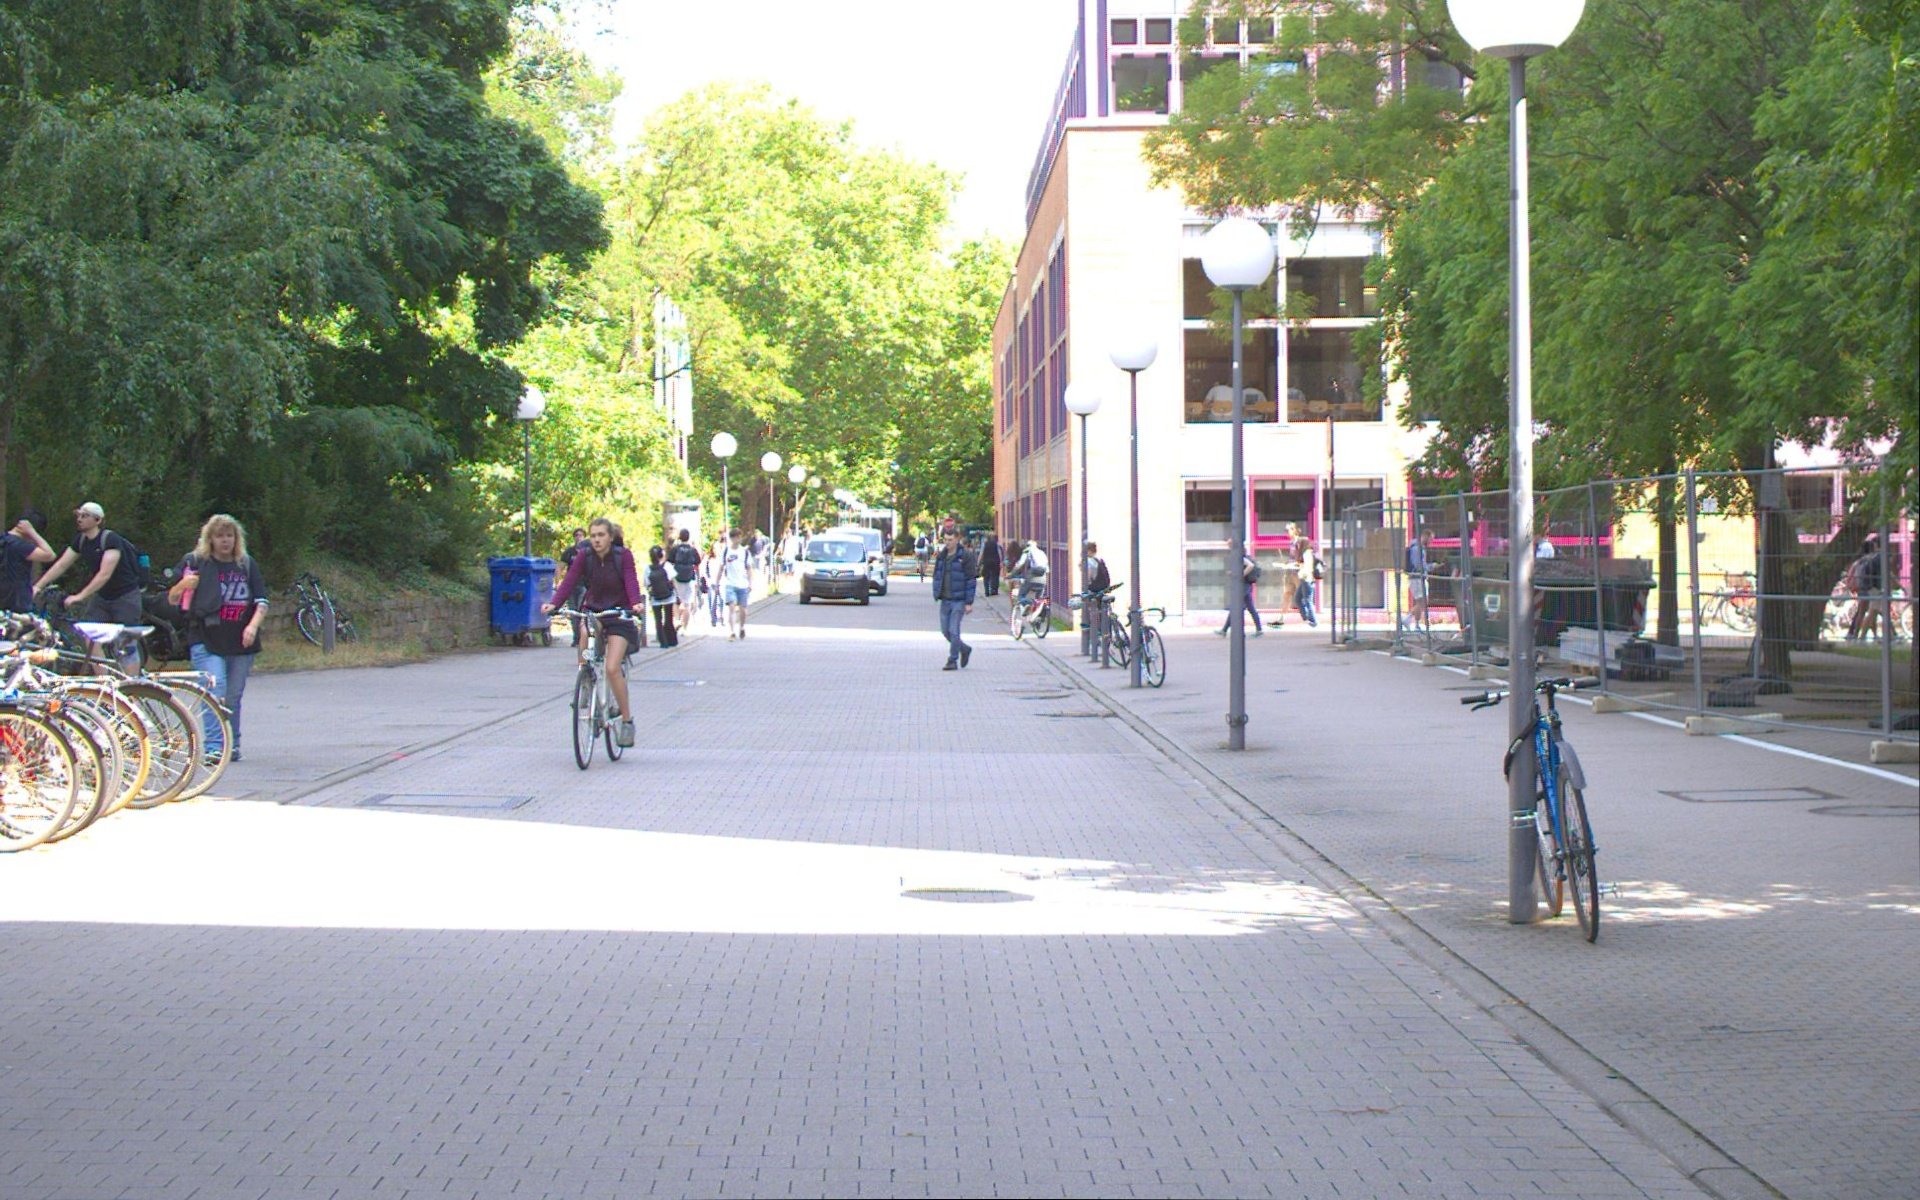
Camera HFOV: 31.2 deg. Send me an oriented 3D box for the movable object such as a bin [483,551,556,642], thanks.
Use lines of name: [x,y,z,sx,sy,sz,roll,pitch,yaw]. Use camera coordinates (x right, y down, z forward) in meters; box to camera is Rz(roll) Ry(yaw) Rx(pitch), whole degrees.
movable object such as a bin: [-6.704,-0.060,52.365,0.709,1.332,1.239,3,1,9]

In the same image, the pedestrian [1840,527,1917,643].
pedestrian: [13.712,-0.220,51.340,0.901,1.722,0.685,0,-1,-5]

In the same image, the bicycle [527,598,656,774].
bicycle: [-2.527,0.566,23.766,0.771,1.146,2.108,-1,0,-4]

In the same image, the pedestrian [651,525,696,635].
pedestrian: [-4.865,-0.342,58.389,0.682,1.838,0.783,1,0,-1]

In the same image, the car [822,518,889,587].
car: [-3.053,-1.431,101.383,1.883,1.967,5.215,0,1,-1]

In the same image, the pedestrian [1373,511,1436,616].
pedestrian: [7.378,-0.598,57.058,0.902,1.722,0.684,-1,-1,18]

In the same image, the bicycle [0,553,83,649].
bicycle: [-10.473,0.003,38.201,0.473,1.043,1.698,3,1,21]

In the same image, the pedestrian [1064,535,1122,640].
pedestrian: [2.100,-0.196,54.197,0.852,1.645,0.588,1,0,7]

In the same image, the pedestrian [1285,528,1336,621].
pedestrian: [6.136,-0.447,60.193,0.780,1.615,0.685,1,0,-3]

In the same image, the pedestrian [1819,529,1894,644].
pedestrian: [13.564,-0.199,52.044,0.901,1.722,0.685,0,-1,-5]

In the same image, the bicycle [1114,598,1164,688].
bicycle: [1.969,0.463,37.920,0.395,0.932,1.732,-2,1,-1]

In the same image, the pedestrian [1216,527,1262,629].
pedestrian: [4.624,-0.362,56.913,0.697,1.667,0.588,-1,0,7]

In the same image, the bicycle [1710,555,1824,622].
bicycle: [13.925,-0.198,59.313,1.809,1.106,0.524,1,1,-3]

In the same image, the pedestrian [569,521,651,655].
pedestrian: [-4.887,-0.170,47.962,0.783,1.839,1.118,1,1,-25]

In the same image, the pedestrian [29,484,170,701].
pedestrian: [-7.404,-0.072,29.602,0.613,1.829,1.048,1,1,32]

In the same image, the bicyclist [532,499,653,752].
bicyclist: [-2.535,0.172,23.789,0.771,1.710,0.911,-1,0,-3]

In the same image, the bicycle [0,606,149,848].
bicycle: [-4.994,0.615,17.225,1.776,1.164,0.474,1,1,12]

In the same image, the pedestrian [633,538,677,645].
pedestrian: [-4.648,-0.136,52.355,0.569,1.605,0.918,1,0,-10]

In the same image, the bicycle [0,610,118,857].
bicycle: [-4.925,0.635,16.515,1.693,1.164,0.474,0,1,-13]

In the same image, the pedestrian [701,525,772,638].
pedestrian: [-3.726,-0.311,57.432,0.725,1.875,1.081,1,0,26]

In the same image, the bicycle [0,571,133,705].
bicycle: [-7.782,0.307,29.657,0.473,1.106,1.844,1,1,13]

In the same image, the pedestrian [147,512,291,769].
pedestrian: [-4.976,0.253,23.059,0.767,1.674,0.907,-1,2,-23]

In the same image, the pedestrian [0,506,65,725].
pedestrian: [-7.607,0.113,27.485,0.684,1.718,0.904,1,1,-3]

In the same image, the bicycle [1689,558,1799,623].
bicycle: [13.977,-0.176,61.301,1.809,1.106,0.524,1,1,-2]

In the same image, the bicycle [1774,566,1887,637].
bicycle: [14.133,0.027,55.826,1.694,1.106,0.474,1,1,3]

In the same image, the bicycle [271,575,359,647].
bicycle: [-8.368,0.150,44.653,0.421,0.907,1.739,1,-1,14]

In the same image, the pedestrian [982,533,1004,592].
pedestrian: [0.940,-1.064,98.548,0.586,1.667,0.817,-1,0,1]

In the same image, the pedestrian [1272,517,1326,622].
pedestrian: [6.000,-0.545,60.885,0.825,1.838,0.685,1,0,-3]

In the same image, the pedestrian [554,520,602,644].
pedestrian: [-5.815,-0.271,52.304,0.682,1.866,1.121,1,0,-5]

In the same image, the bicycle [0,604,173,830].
bicycle: [-5.032,0.609,18.077,1.694,1.164,0.474,1,1,-7]

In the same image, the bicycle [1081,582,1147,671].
bicycle: [1.955,0.323,43.811,0.708,1.089,1.749,0,1,-1]

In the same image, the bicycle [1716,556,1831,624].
bicycle: [13.825,-0.169,58.464,1.809,1.106,0.523,1,1,3]

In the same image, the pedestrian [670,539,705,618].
pedestrian: [-5.629,-0.438,70.924,0.682,1.615,0.914,1,0,-5]

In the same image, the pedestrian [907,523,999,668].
pedestrian: [-0.087,-0.065,45.018,0.886,1.851,1.031,1,1,18]

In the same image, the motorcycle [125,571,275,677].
motorcycle: [-8.224,0.247,37.142,2.024,1.043,0.473,3,2,42]

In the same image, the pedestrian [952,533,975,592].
pedestrian: [0.099,-1.061,97.224,0.586,1.667,0.817,-1,0,1]

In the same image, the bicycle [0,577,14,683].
bicycle: [-10.086,0.280,34.421,0.473,1.043,1.699,0,1,-42]

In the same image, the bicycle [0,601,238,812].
bicycle: [-4.935,0.593,19.308,1.693,1.155,0.474,0,1,-9]

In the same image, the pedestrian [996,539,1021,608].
pedestrian: [1.193,-0.657,84.138,0.586,1.667,0.699,-1,0,1]

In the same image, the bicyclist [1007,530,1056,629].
bicyclist: [1.241,-0.363,59.679,0.587,1.710,0.665,0,1,-33]

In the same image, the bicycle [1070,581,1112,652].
bicycle: [1.874,0.230,49.232,0.450,0.958,1.740,-3,1,-1]

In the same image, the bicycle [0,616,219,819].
bicycle: [-4.952,0.638,18.839,1.694,1.087,0.474,1,1,-7]

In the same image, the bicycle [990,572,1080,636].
bicycle: [1.286,0.060,59.604,0.587,1.080,1.908,0,1,-33]

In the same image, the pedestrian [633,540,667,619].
pedestrian: [-6.390,-0.417,70.854,0.682,1.615,0.979,1,0,-5]

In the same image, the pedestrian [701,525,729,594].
pedestrian: [-6.492,-1.072,91.176,0.682,1.838,0.783,1,0,-1]

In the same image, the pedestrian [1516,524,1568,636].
pedestrian: [9.393,-0.321,55.469,0.767,1.788,0.588,-1,0,7]

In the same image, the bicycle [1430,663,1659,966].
bicycle: [2.268,0.803,13.520,0.537,1.036,1.859,-1,1,-1]

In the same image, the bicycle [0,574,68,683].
bicycle: [-9.693,0.270,34.909,0.473,1.043,1.699,2,1,-42]

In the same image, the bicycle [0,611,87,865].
bicycle: [-4.944,0.635,15.973,1.693,1.164,0.474,0,1,-17]

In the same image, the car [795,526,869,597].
car: [-3.253,-1.009,88.040,1.790,1.755,4.482,0,1,-1]
